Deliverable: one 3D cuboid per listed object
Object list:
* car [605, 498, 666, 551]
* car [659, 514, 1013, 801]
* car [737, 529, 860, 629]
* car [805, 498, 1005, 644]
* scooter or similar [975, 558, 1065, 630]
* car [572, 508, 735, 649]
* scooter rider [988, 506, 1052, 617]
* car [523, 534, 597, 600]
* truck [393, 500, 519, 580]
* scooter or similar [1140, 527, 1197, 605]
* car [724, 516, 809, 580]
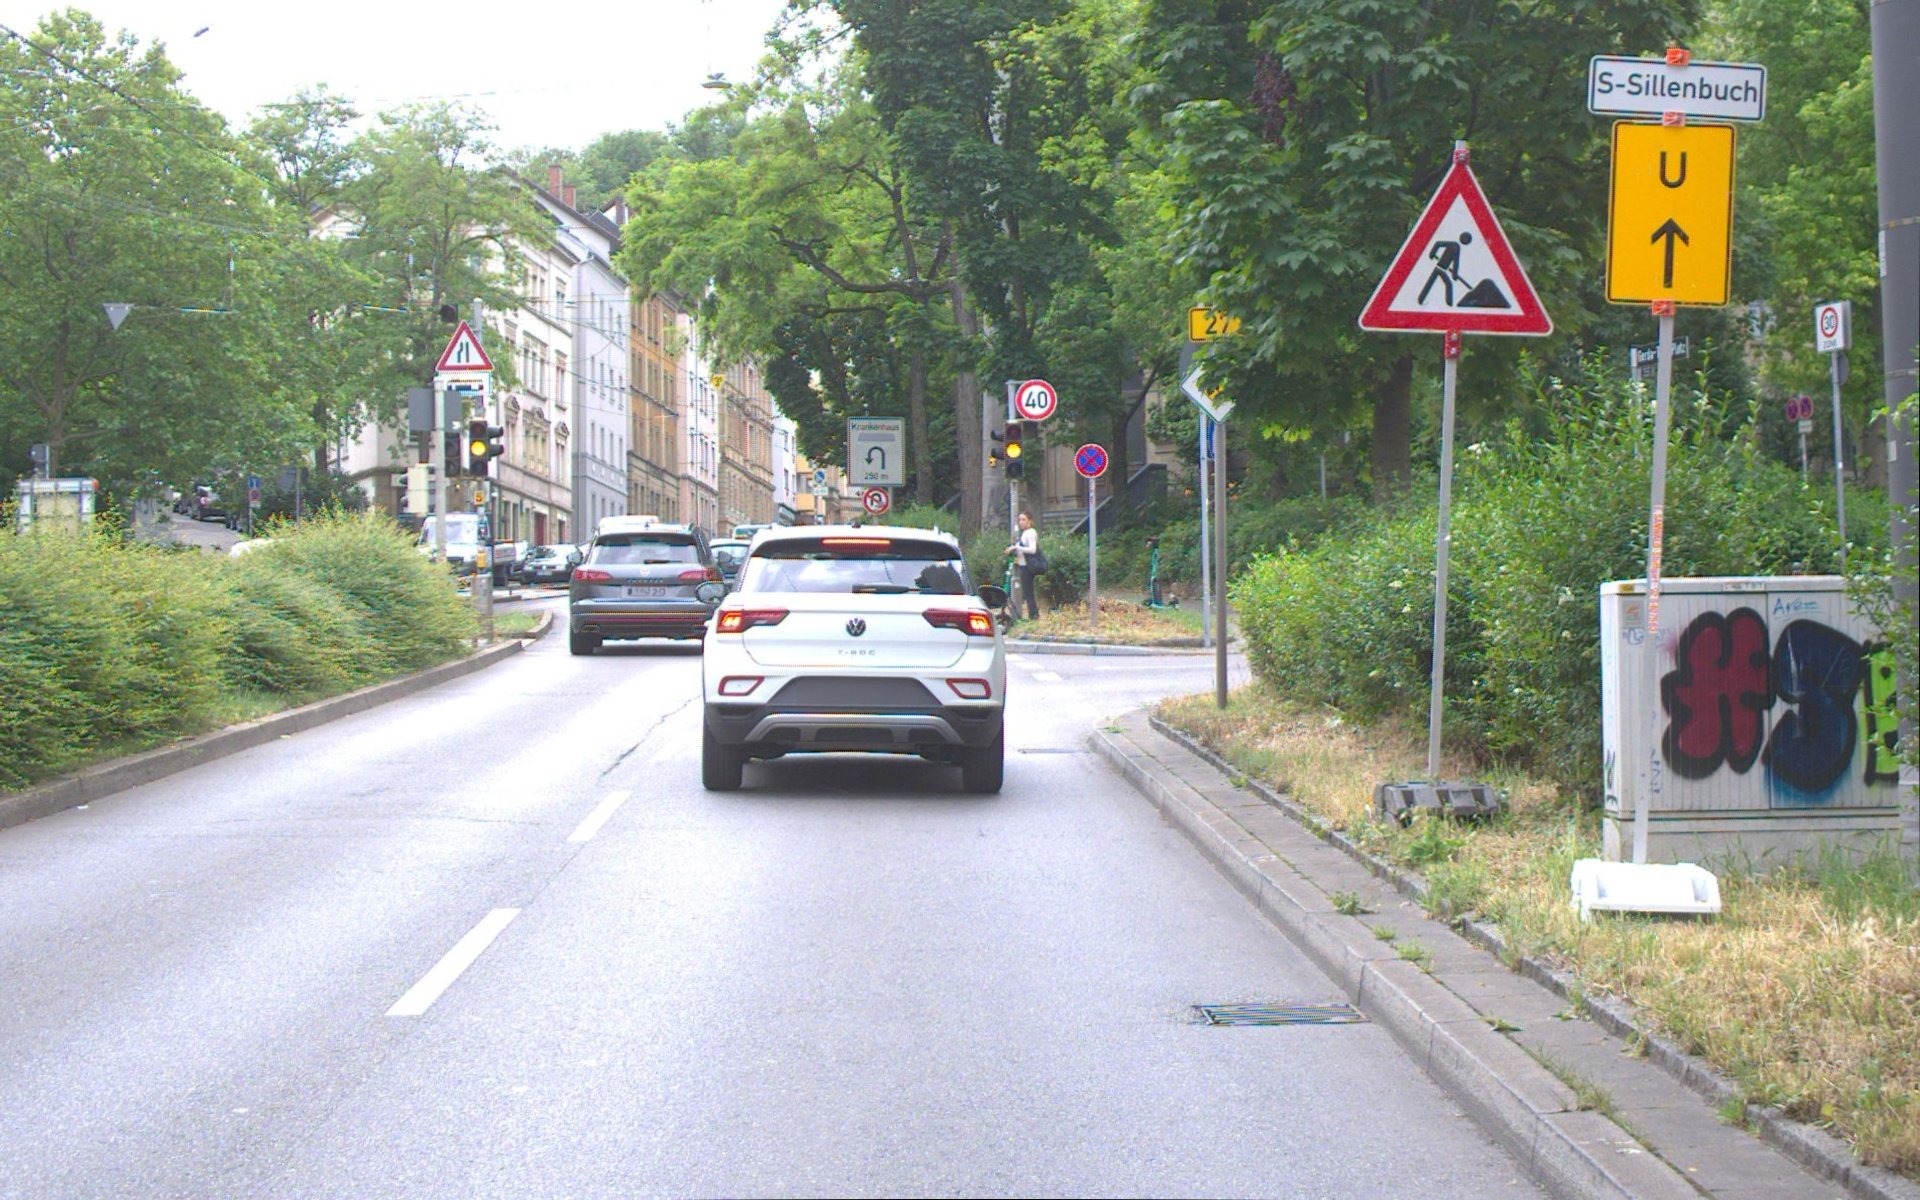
[{"bbox_3d":[-12.592,-2.916,133.568,1.993,2.007,4.000,-1,1,-1],"label":"car"},{"bbox_3d":[-0.771,0.287,21.225,1.938,1.561,4.047,1,1,-2],"label":"car"},{"bbox_3d":[-2.881,-0.349,60.654,1.993,1.618,4.000,-1,-1,-5],"label":"car"},{"bbox_3d":[-0.710,-0.311,41.473,1.902,1.569,3.835,2,-2,-8],"label":"car"},{"bbox_3d":[0.849,-0.087,48.921,1.187,0.991,0.531,-1,1,-10],"label":"scooter or similar"},{"bbox_3d":[-3.931,-0.290,44.629,1.839,1.734,4.000,0,1,-1],"label":"car"},{"bbox_3d":[0.850,-0.550,48.917,0.777,1.552,0.532,-1,1,-11],"label":"scooter rider"},{"bbox_3d":[-13.477,-1.104,116.068,1.993,2.007,4.000,2,-2,-1],"label":"car"},{"bbox_3d":[-15.019,-1.818,102.765,2.422,2.162,6.033,2,2,4],"label":"truck"},{"bbox_3d":[3.128,-0.506,51.639,0.474,1.096,1.369,-2,-2,-11],"label":"scooter or similar"},{"bbox_3d":[-6.850,-1.865,122.498,2.422,2.162,6.033,1,1,2],"label":"car"}]
